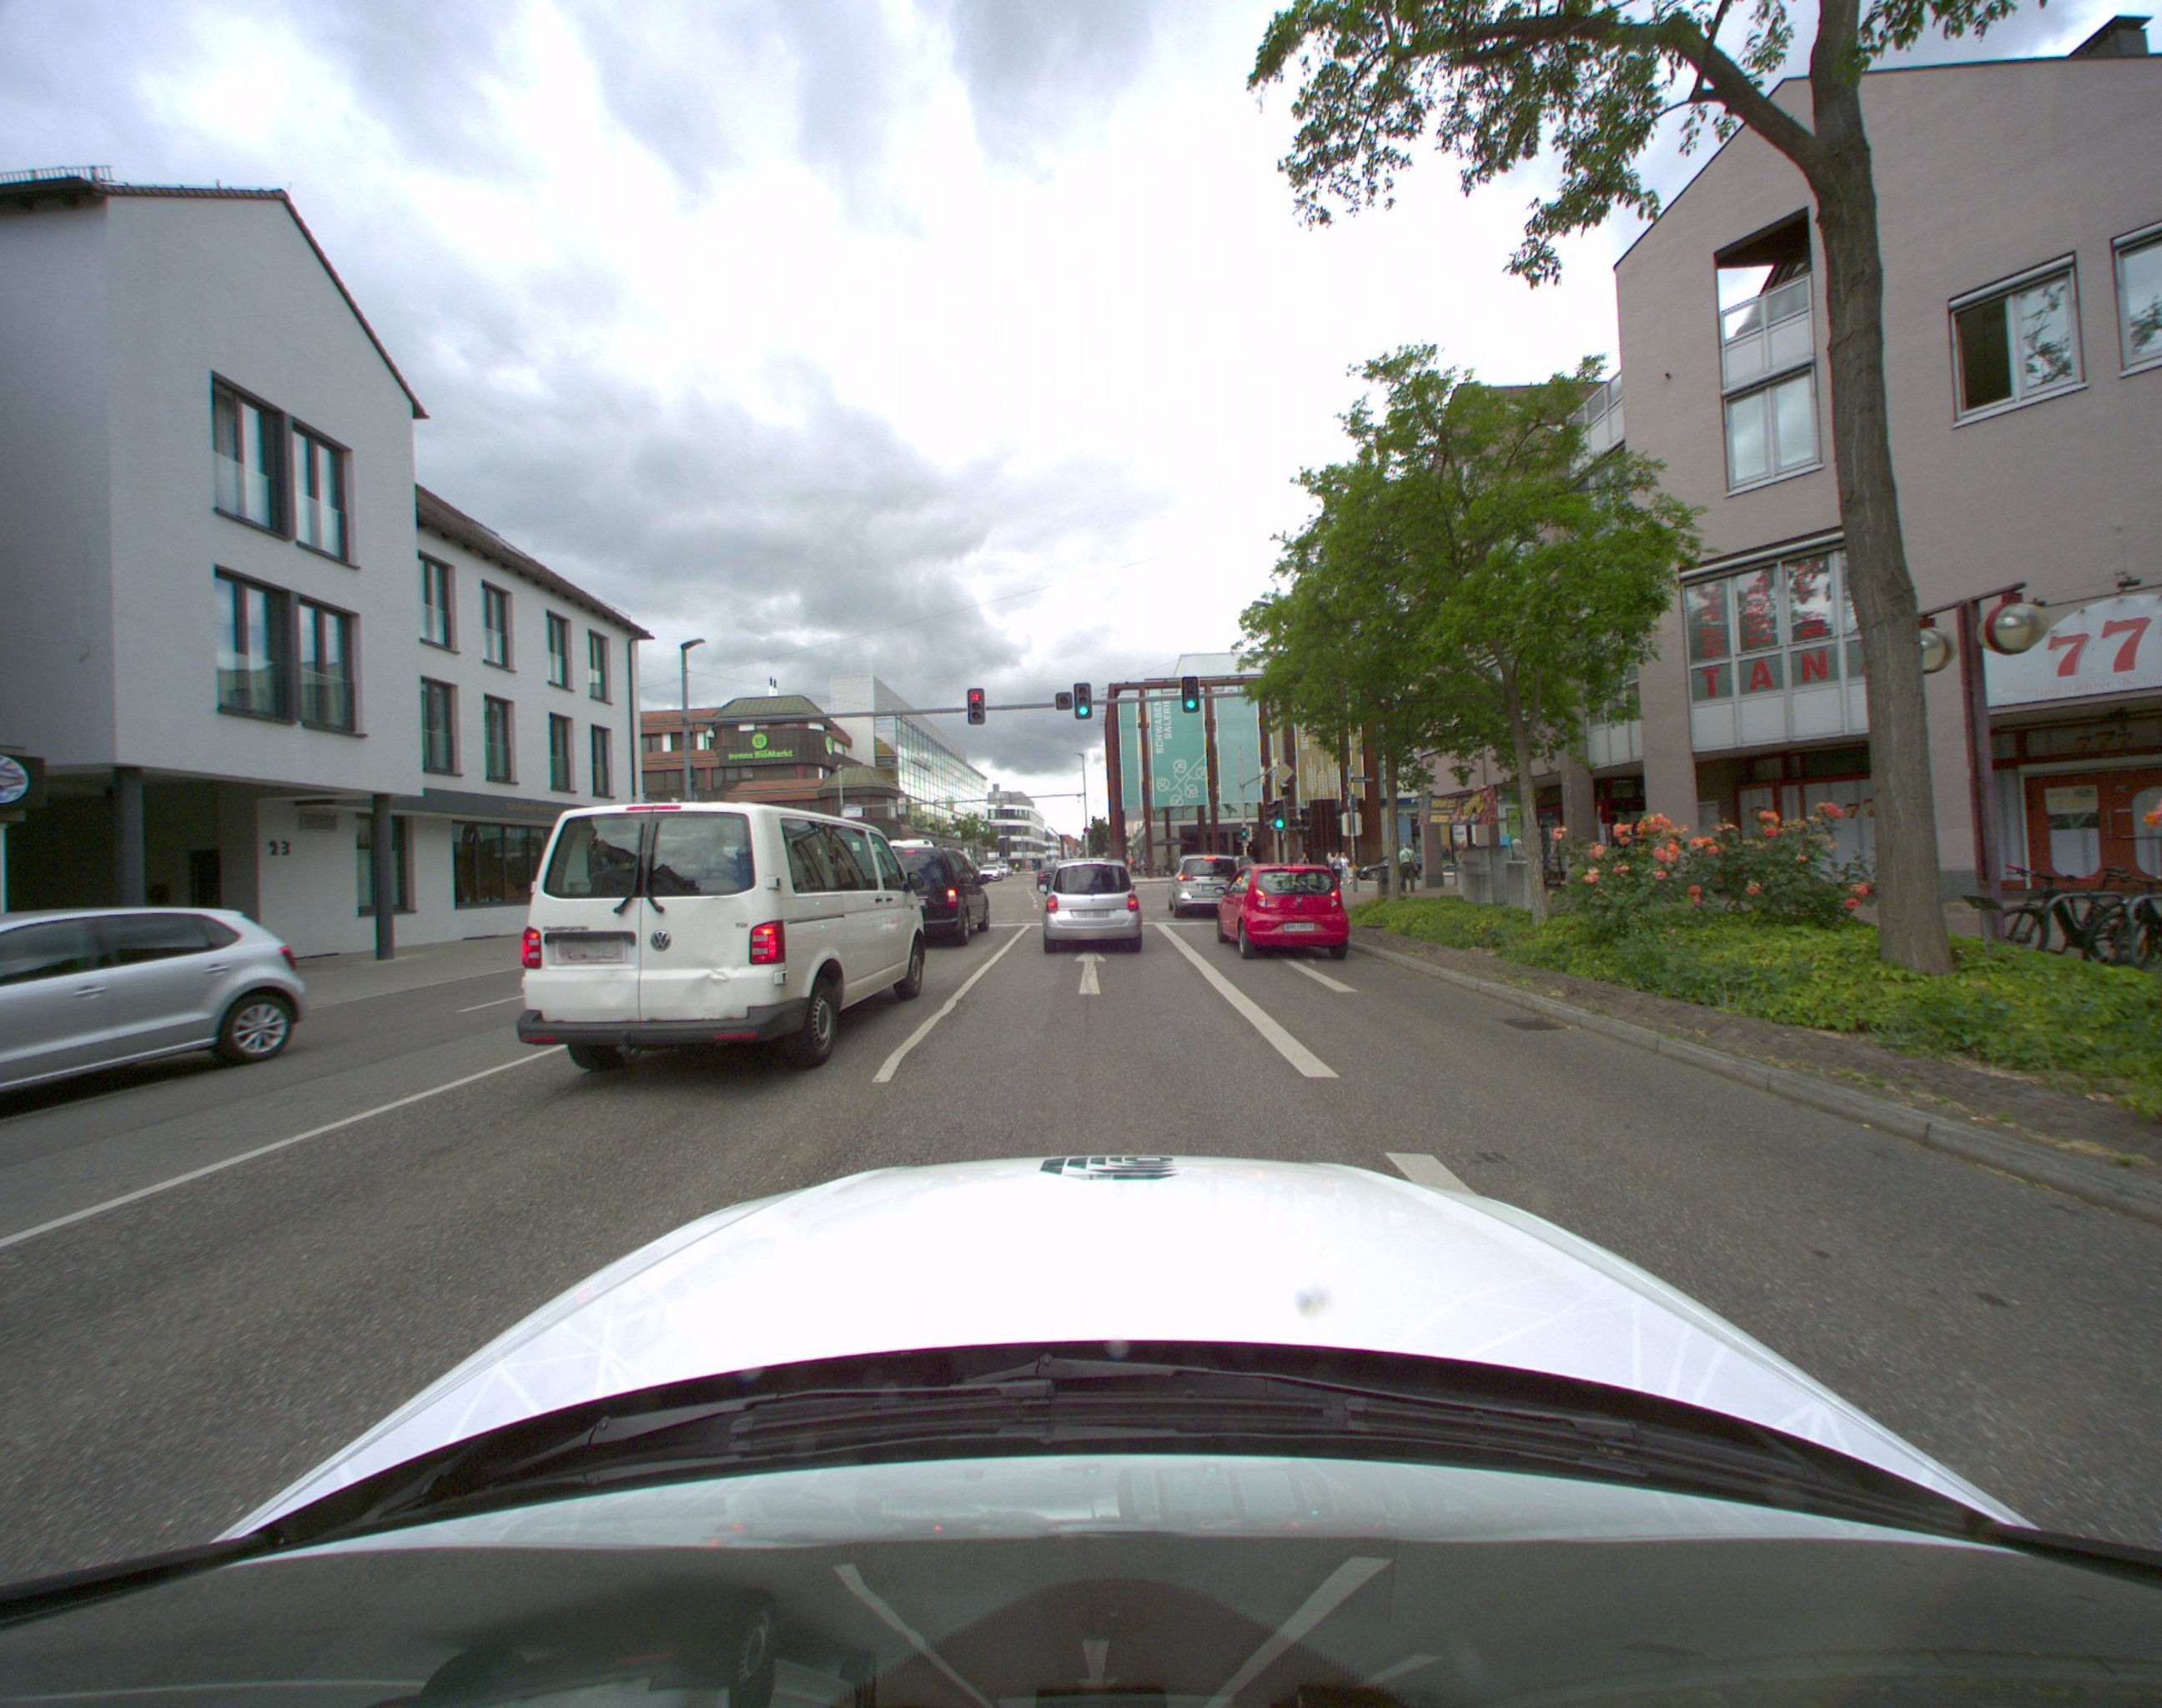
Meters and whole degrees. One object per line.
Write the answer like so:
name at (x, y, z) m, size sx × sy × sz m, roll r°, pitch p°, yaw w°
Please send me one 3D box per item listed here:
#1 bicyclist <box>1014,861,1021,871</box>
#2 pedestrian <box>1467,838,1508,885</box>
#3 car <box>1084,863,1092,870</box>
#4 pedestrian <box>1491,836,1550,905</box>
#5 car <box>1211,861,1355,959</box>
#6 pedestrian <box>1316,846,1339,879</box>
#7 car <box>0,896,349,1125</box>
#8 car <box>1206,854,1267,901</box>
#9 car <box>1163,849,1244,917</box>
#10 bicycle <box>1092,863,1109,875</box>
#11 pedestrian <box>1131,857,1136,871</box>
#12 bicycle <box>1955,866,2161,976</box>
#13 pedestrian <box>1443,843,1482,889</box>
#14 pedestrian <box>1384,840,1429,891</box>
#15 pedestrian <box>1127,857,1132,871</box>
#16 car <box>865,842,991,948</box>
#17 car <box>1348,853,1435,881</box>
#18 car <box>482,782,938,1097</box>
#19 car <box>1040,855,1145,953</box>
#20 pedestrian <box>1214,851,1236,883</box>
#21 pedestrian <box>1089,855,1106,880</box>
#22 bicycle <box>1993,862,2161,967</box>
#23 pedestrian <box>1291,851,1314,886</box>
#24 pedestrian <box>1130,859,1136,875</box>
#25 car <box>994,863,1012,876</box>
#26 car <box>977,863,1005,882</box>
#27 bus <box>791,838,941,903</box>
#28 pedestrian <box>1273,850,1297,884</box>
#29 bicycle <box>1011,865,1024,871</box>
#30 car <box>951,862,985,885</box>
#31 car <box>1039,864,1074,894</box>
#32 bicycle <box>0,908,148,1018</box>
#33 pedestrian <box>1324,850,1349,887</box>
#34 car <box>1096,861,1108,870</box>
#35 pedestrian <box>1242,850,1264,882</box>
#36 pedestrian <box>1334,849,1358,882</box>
bicyclist at (-10.568, 1.982, 135.509) m, size 1.011 × 1.660 × 0.924 m, roll 0°, pitch -1°, yaw -27°
pedestrian at (14.190, 0.274, 28.479) m, size 0.828 × 1.584 × 1.057 m, roll -2°, pitch -1°, yaw -4°
car at (1.494, 2.839, 184.477) m, size 1.654 × 1.465 × 4.001 m, roll -3°, pitch -1°, yaw 1°
pedestrian at (10.862, 0.392, 20.164) m, size 0.806 × 1.626 × 1.093 m, roll -3°, pitch 0°, yaw -1°
car at (3.280, 0.847, 13.888) m, size 1.620 × 1.448 × 3.643 m, roll 0°, pitch 0°, yaw 1°
pedestrian at (13.620, 0.462, 45.032) m, size 0.876 × 1.767 × 1.119 m, roll -2°, pitch -1°, yaw -2°
car at (-8.155, 1.147, 6.010) m, size 1.752 × 1.448 × 4.036 m, roll -3°, pitch -1°, yaw 1°
car at (5.896, 0.808, 30.487) m, size 1.837 × 1.609 × 4.881 m, roll -1°, pitch 0°, yaw 15°
car at (3.329, 0.755, 22.893) m, size 1.733 × 1.701 × 4.382 m, roll 0°, pitch 0°, yaw 2°
bicycle at (1.825, 1.409, 76.532) m, size 1.553 × 0.992 × 0.753 m, roll -2°, pitch -1°, yaw 4°
pedestrian at (6.000, 1.167, 92.901) m, size 0.425 × 1.549 × 0.481 m, roll -2°, pitch -1°, yaw -1°
bicycle at (10.191, 0.668, 8.387) m, size 1.549 × 1.048 × 0.409 m, roll -3°, pitch -1°, yaw 43°
pedestrian at (13.313, 0.410, 28.428) m, size 0.828 × 1.558 × 0.968 m, roll -2°, pitch -1°, yaw -3°
pedestrian at (11.241, 0.395, 28.169) m, size 1.052 × 1.715 × 1.110 m, roll -2°, pitch -1°, yaw 0°
pedestrian at (5.523, 1.169, 92.989) m, size 0.425 × 1.549 × 0.481 m, roll -2°, pitch -1°, yaw -1°
car at (-2.921, 0.727, 16.458) m, size 1.702 × 1.821 × 4.570 m, roll 0°, pitch 0°, yaw -1°
car at (17.237, 0.717, 45.329) m, size 4.161 × 1.404 × 1.799 m, roll -1°, pitch 0°, yaw -2°
car at (-2.834, 0.570, 7.699) m, size 1.986 × 2.014 × 4.841 m, roll -1°, pitch 0°, yaw 1°
car at (0.227, 0.816, 14.891) m, size 1.664 × 1.554 × 3.643 m, roll 0°, pitch 0°, yaw 1°
pedestrian at (7.727, 0.694, 43.693) m, size 0.876 × 1.681 × 1.119 m, roll -2°, pitch -1°, yaw -2°
pedestrian at (1.104, 0.938, 55.086) m, size 0.861 × 1.646 × 0.685 m, roll -2°, pitch -1°, yaw 35°
bicycle at (10.844, 0.629, 8.600) m, size 1.549 × 1.048 × 0.409 m, roll -3°, pitch -1°, yaw 43°
pedestrian at (10.525, 0.698, 38.701) m, size 0.739 × 1.626 × 0.953 m, roll -3°, pitch 0°, yaw -2°
pedestrian at (4.031, 1.024, 63.041) m, size 0.445 × 1.220 × 0.607 m, roll -2°, pitch -1°, yaw 4°
car at (-9.627, 1.891, 100.755) m, size 1.654 × 1.465 × 4.001 m, roll -3°, pitch -1°, yaw 1°
car at (-7.682, 1.529, 69.631) m, size 1.738 × 1.459 × 4.236 m, roll -3°, pitch 0°, yaw 1°
bus at (-12.723, 0.816, 50.135) m, size 2.965 × 3.327 × 12.356 m, roll -5°, pitch 0°, yaw 15°
pedestrian at (10.941, 0.706, 43.681) m, size 0.876 × 1.767 × 1.119 m, roll -2°, pitch -1°, yaw -2°
bicycle at (-10.644, 2.360, 135.650) m, size 1.011 × 1.018 × 3.102 m, roll 0°, pitch -1°, yaw -27°
car at (-7.942, 1.340, 57.373) m, size 1.738 × 1.459 × 3.818 m, roll -3°, pitch 0°, yaw 1°
car at (-1.277, 1.311, 43.755) m, size 1.664 × 1.554 × 3.643 m, roll 0°, pitch 0°, yaw 1°
bicycle at (-13.248, 1.360, 10.232) m, size 0.580 × 1.232 × 2.119 m, roll -2°, pitch -1°, yaw 0°
pedestrian at (11.598, 0.660, 37.052) m, size 0.739 × 1.626 × 0.953 m, roll -3°, pitch 0°, yaw -2°
car at (3.133, 1.681, 120.812) m, size 1.870 × 1.335 × 4.001 m, roll 0°, pitch 0°, yaw 2°
pedestrian at (9.229, 0.625, 43.774) m, size 0.876 × 1.681 × 1.119 m, roll -2°, pitch -1°, yaw -2°
pedestrian at (13.268, 0.588, 40.818) m, size 0.819 × 1.595 × 1.038 m, roll -2°, pitch -1°, yaw -2°
